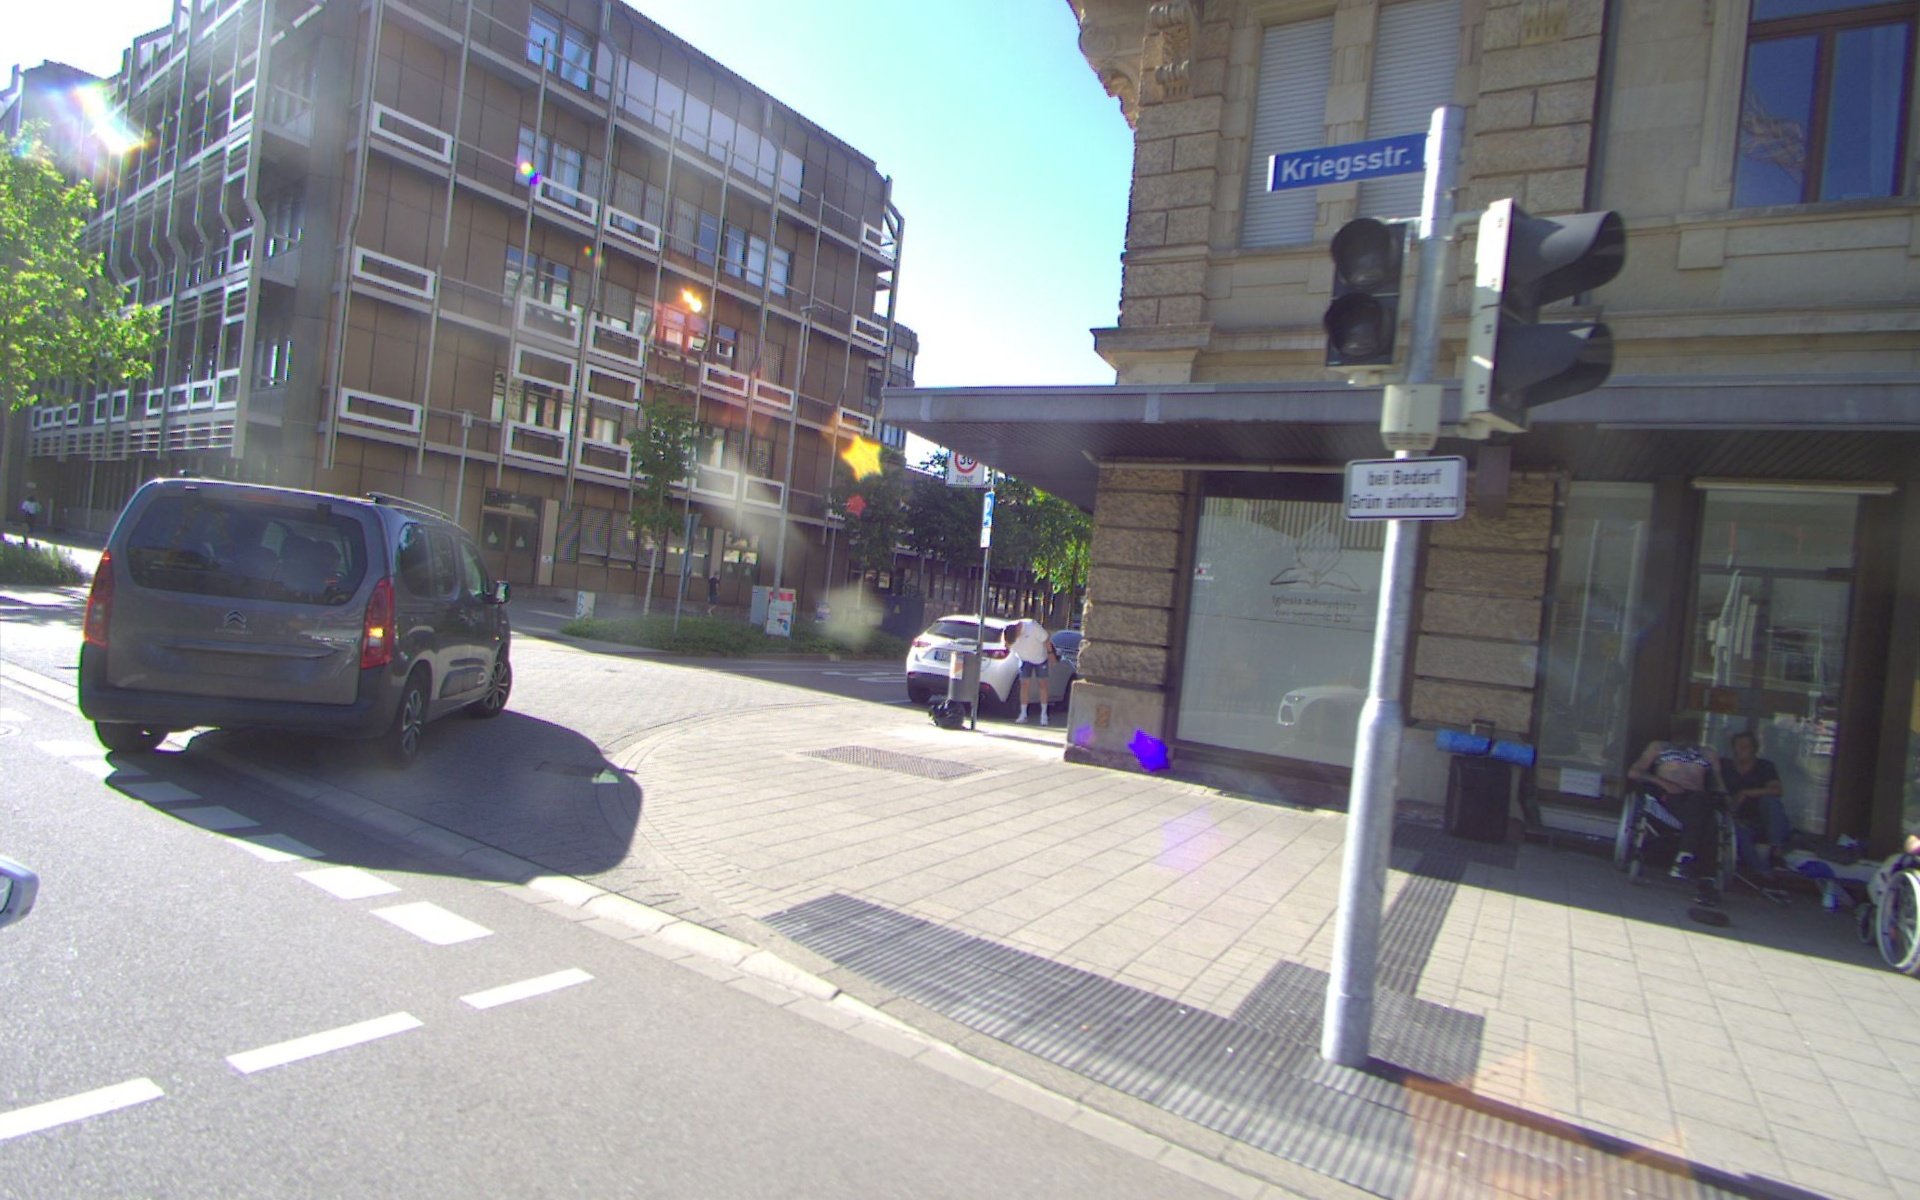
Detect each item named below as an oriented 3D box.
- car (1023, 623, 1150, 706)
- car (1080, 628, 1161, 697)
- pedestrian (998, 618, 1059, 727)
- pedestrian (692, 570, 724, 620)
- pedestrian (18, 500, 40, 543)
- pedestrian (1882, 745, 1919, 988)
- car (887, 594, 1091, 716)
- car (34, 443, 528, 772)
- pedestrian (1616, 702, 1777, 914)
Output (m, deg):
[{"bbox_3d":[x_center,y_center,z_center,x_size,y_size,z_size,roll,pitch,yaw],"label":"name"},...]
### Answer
[{"bbox_3d":[2.795,1.366,21.438,1.529,1.411,4.191,7,-1,22],"label":"car"},{"bbox_3d":[4.089,1.569,25.386,1.281,1.513,2.791,6,-1,22],"label":"car"},{"bbox_3d":[0.977,1.026,14.286,0.533,1.468,0.682,5,0,25],"label":"pedestrian"},{"bbox_3d":[-9.663,-0.204,38.568,0.762,1.805,0.639,7,1,31],"label":"pedestrian"},{"bbox_3d":[-37.400,-3.165,40.408,0.664,1.644,0.510,7,3,38],"label":"pedestrian"},{"bbox_3d":[5.546,1.475,5.442,0.637,1.234,0.716,6,2,36],"label":"pedestrian"},{"bbox_3d":[0.649,0.911,16.646,1.819,1.562,4.408,6,-1,22],"label":"car"},{"bbox_3d":[-4.866,0.068,8.025,1.788,1.774,4.157,6,-1,-14],"label":"car"},{"bbox_3d":[5.162,1.410,7.123,0.691,1.234,1.073,6,1,30],"label":"pedestrian"}]
